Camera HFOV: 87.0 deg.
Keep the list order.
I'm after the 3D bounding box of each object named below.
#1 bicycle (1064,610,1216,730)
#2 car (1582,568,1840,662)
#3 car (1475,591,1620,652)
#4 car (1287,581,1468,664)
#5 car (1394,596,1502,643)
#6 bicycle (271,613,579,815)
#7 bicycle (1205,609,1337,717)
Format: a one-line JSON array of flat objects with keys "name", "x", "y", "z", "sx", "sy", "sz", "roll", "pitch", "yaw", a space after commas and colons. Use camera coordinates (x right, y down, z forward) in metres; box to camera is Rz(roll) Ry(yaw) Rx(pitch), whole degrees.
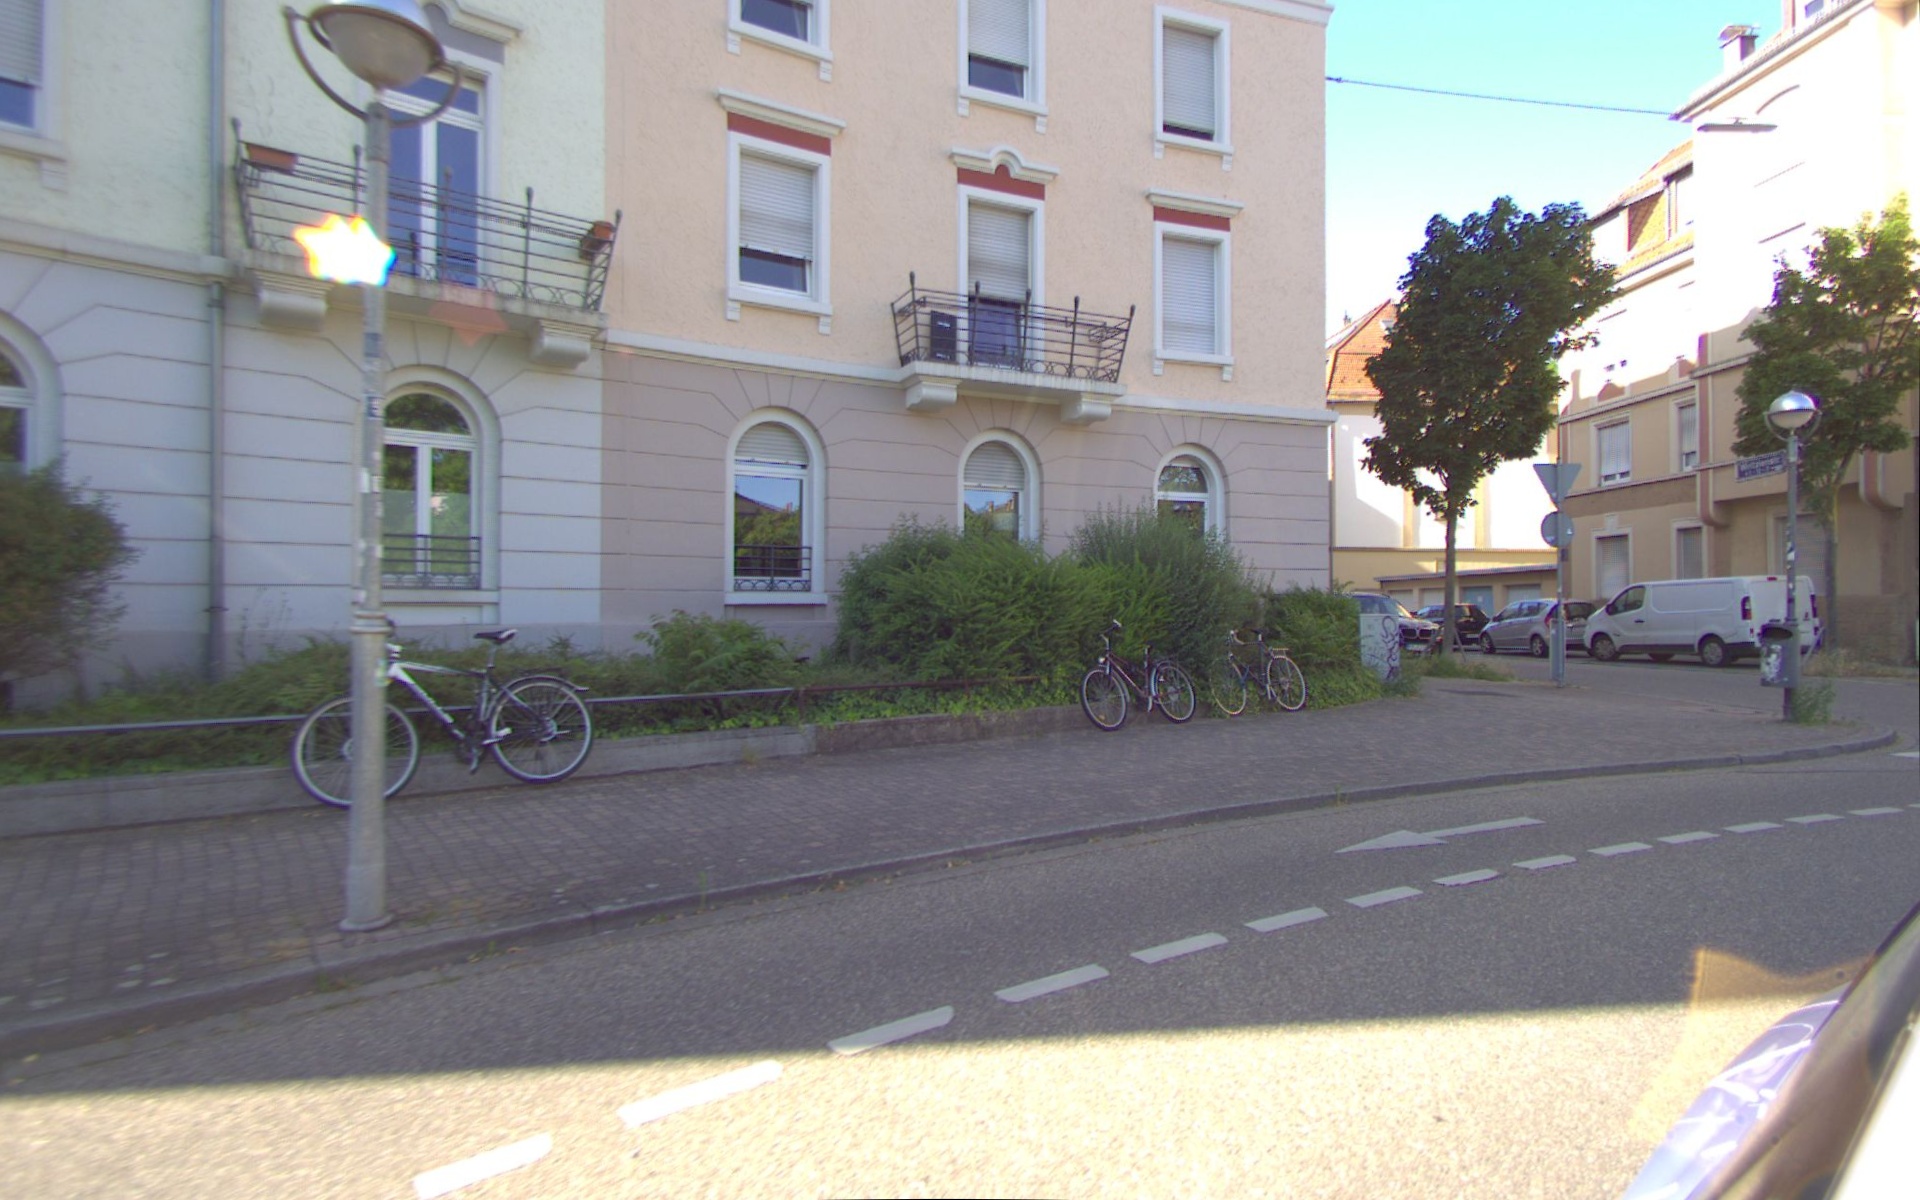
[{"name": "bicycle", "x": 1.838, "y": 0.664, "z": 10.200, "sx": 1.655, "sy": 1.102, "sz": 0.502, "roll": 0, "pitch": 1, "yaw": -37}, {"name": "car", "x": 16.969, "y": 0.335, "z": 23.228, "sx": 2.097, "sy": 1.933, "sz": 4.567, "roll": 0, "pitch": -1, "yaw": -8}, {"name": "car", "x": 16.379, "y": 0.585, "z": 28.434, "sx": 1.605, "sy": 1.593, "sz": 3.742, "roll": 0, "pitch": -1, "yaw": -6}, {"name": "car", "x": 9.176, "y": 0.474, "z": 22.690, "sx": 1.870, "sy": 1.663, "sz": 4.351, "roll": 0, "pitch": -1, "yaw": -6}, {"name": "car", "x": 15.803, "y": 0.620, "z": 32.948, "sx": 1.605, "sy": 1.446, "sz": 3.337, "roll": 0, "pitch": -1, "yaw": -6}, {"name": "bicycle", "x": -3.314, "y": 0.648, "z": 6.343, "sx": 1.654, "sy": 1.102, "sz": 0.503, "roll": 0, "pitch": 1, "yaw": -34}, {"name": "bicycle", "x": 3.465, "y": 0.661, "z": 11.220, "sx": 1.655, "sy": 1.102, "sz": 0.502, "roll": 0, "pitch": 1, "yaw": -37}]
